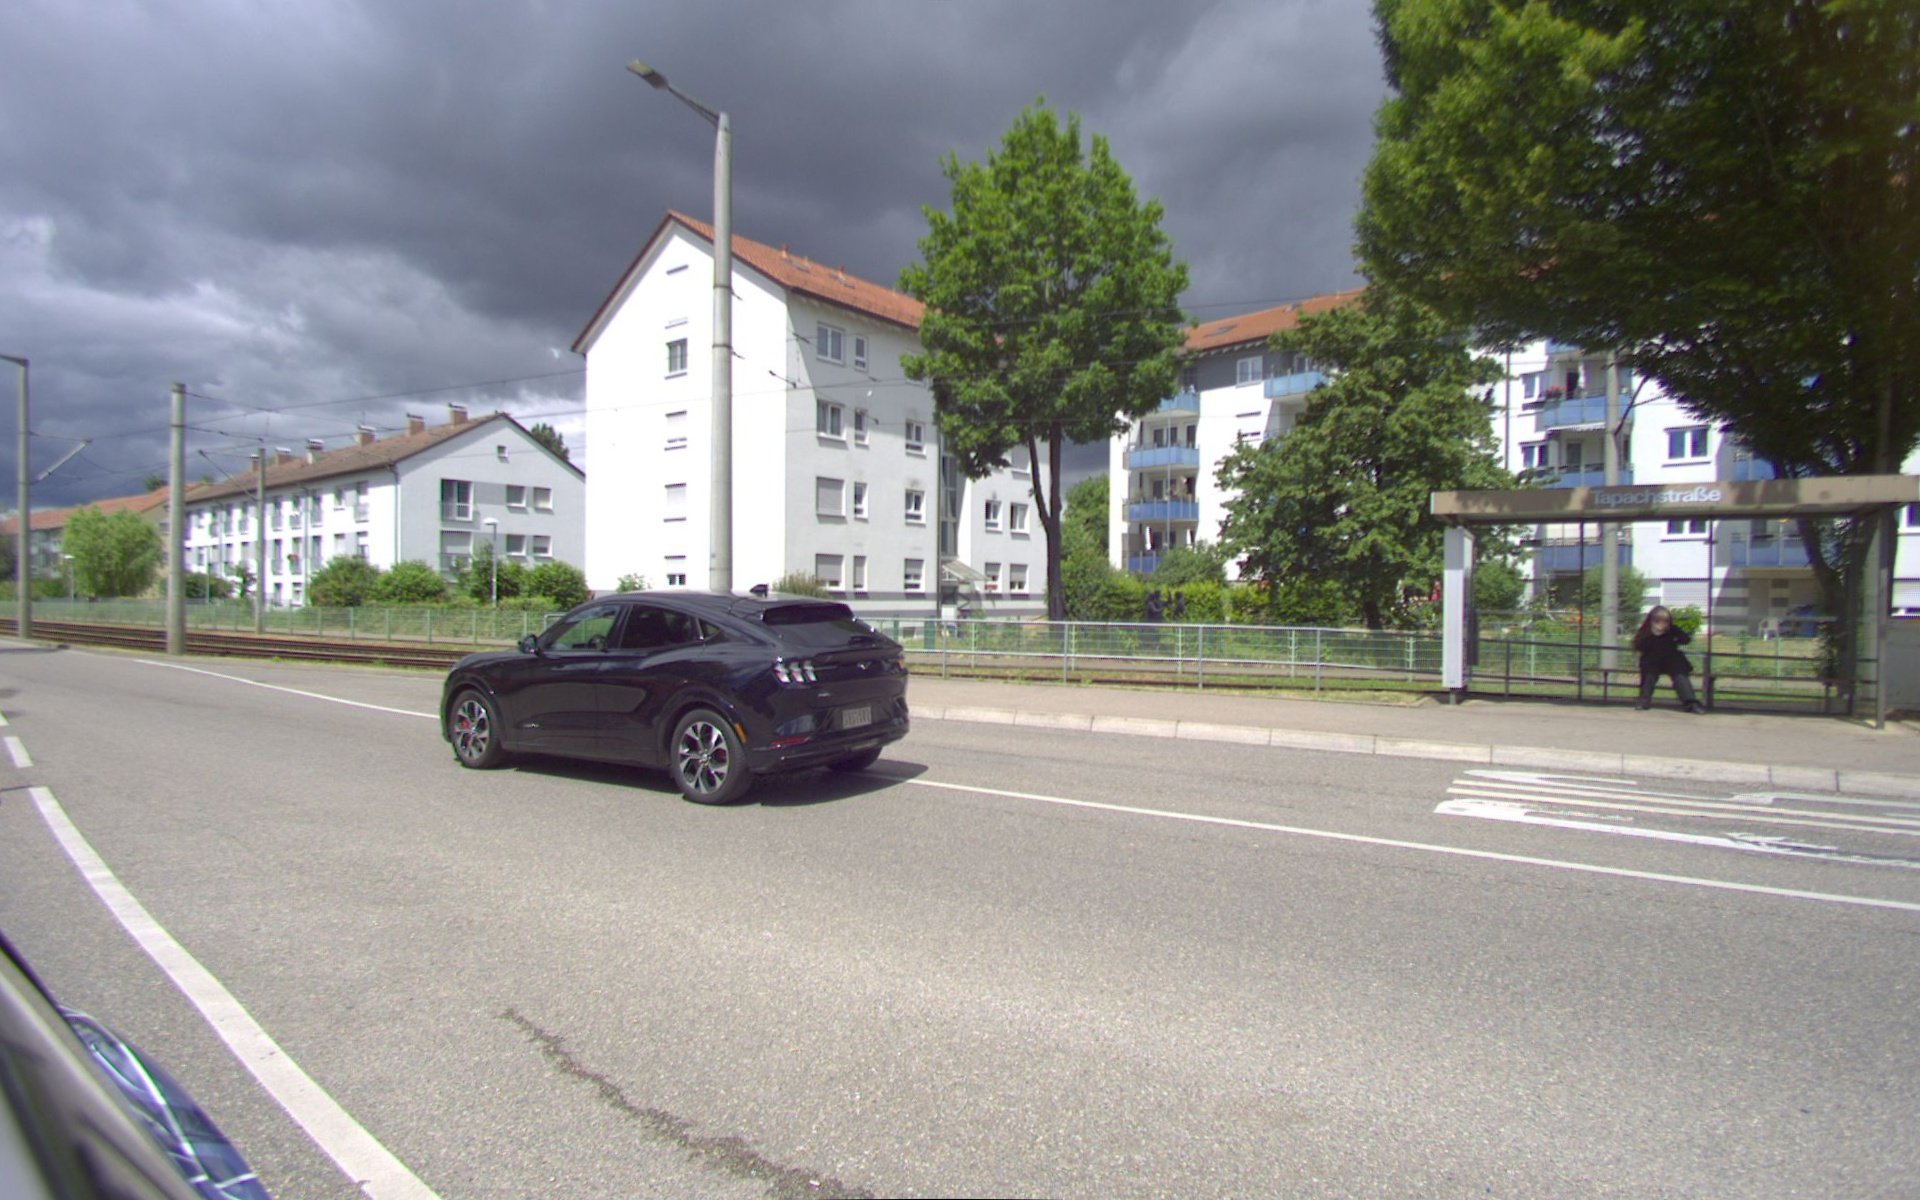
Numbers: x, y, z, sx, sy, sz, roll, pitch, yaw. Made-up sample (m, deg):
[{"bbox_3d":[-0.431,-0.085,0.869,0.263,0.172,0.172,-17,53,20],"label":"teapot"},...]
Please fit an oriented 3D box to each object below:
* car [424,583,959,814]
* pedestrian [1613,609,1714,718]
[{"bbox_3d":[-2.428,0.662,8.798,4.510,1.537,1.978,0,0,32],"label":"car"},{"bbox_3d":[7.923,0.686,11.436,0.909,1.144,0.791,0,0,34],"label":"pedestrian"}]
